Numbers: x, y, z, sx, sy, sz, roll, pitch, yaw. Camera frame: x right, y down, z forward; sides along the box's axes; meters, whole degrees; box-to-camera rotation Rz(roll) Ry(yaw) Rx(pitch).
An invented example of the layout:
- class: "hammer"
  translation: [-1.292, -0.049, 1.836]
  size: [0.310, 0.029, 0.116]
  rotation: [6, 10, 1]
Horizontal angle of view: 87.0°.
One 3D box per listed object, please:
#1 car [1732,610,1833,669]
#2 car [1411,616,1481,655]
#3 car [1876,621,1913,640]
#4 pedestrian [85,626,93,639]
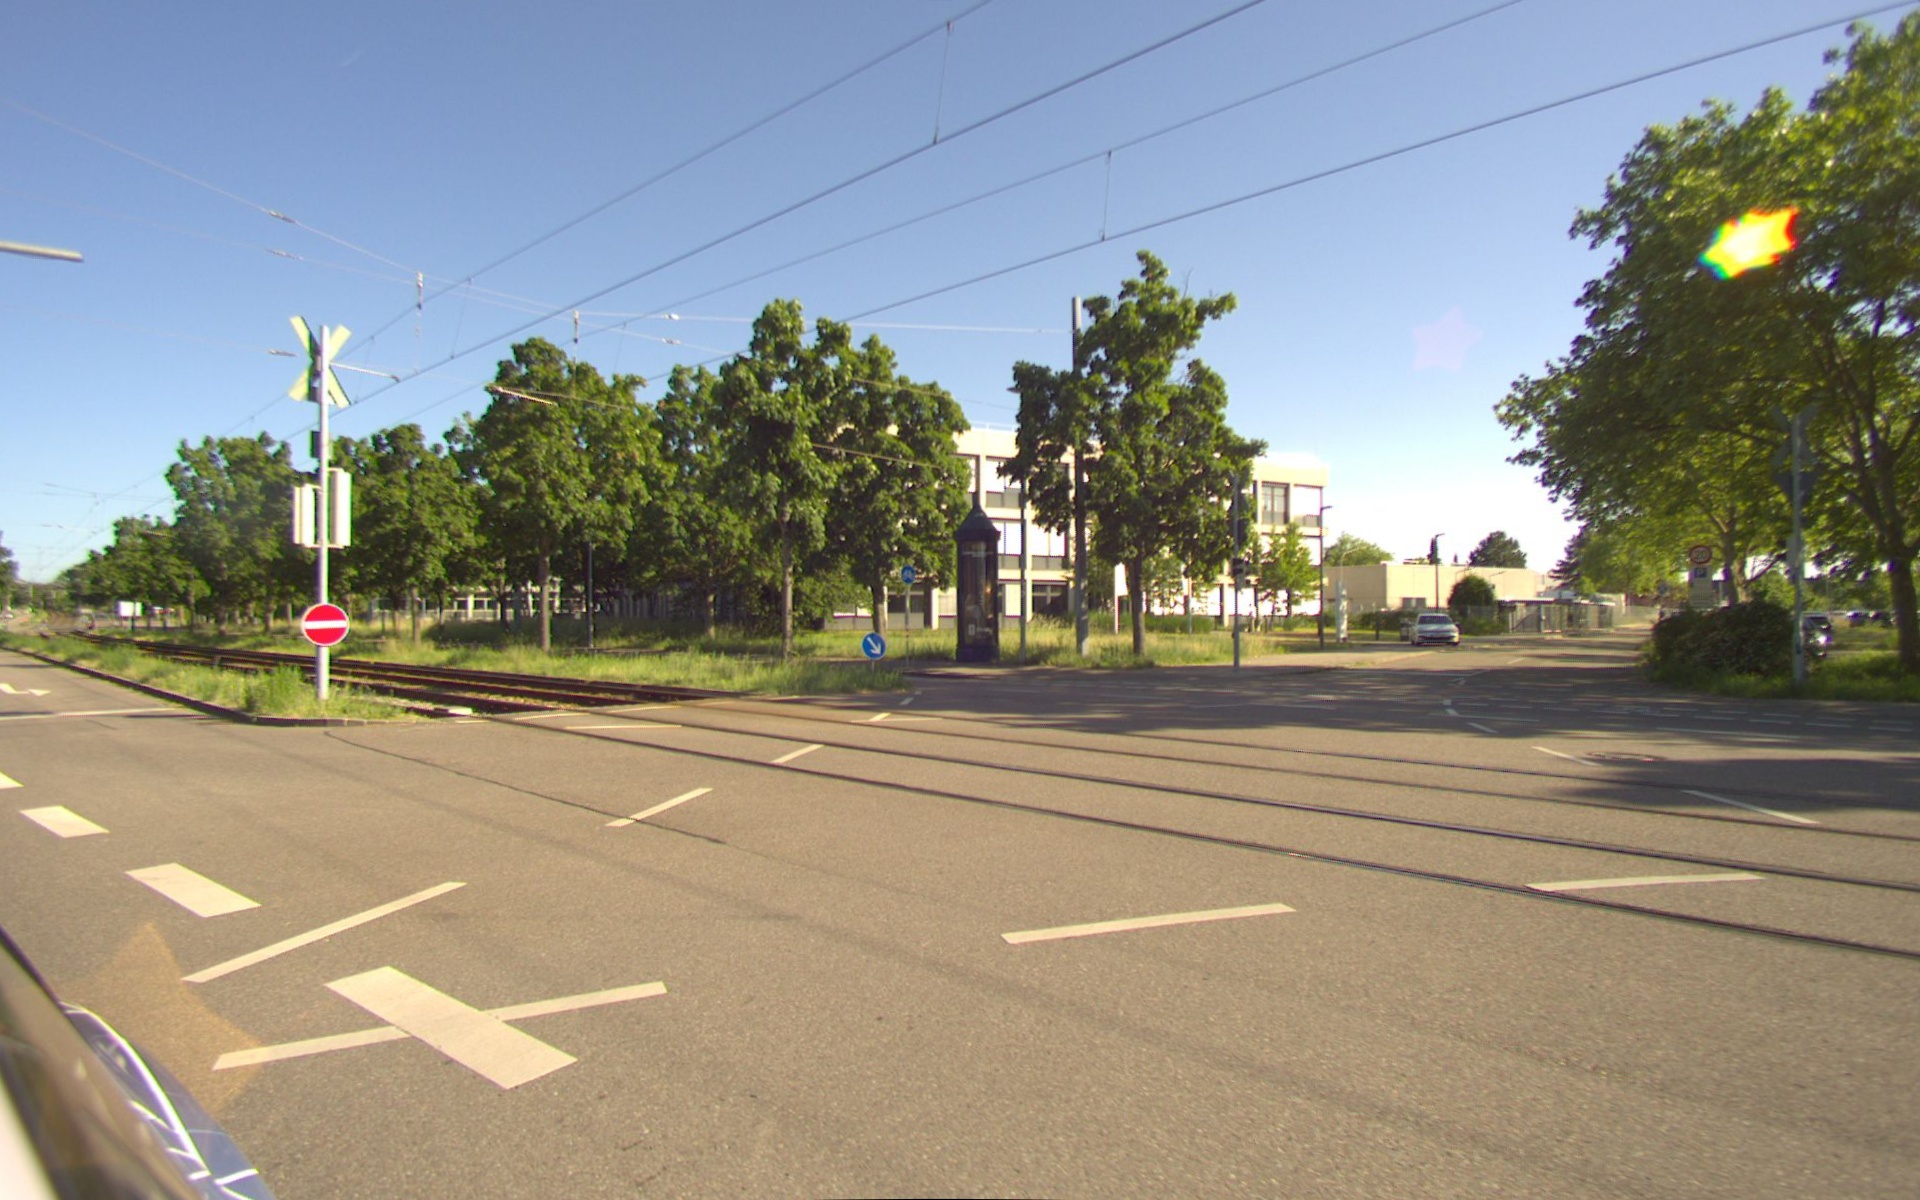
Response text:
- class: "car"
  translation: [25.131, 1.178, 31.063]
  size: [1.824, 1.681, 3.958]
  rotation: [-1, -1, 31]
- class: "car"
  translation: [22.104, 1.598, 45.945]
  size: [1.987, 1.652, 4.374]
  rotation: [-1, -2, 38]
- class: "car"
  translation: [78.016, 2.554, 84.484]
  size: [4.365, 1.561, 1.978]
  rotation: [1, -2, -44]
- class: "pedestrian"
  translation: [-121.608, 4.521, 141.302]
  size: [0.774, 1.765, 0.782]
  rotation: [1, -2, -44]
